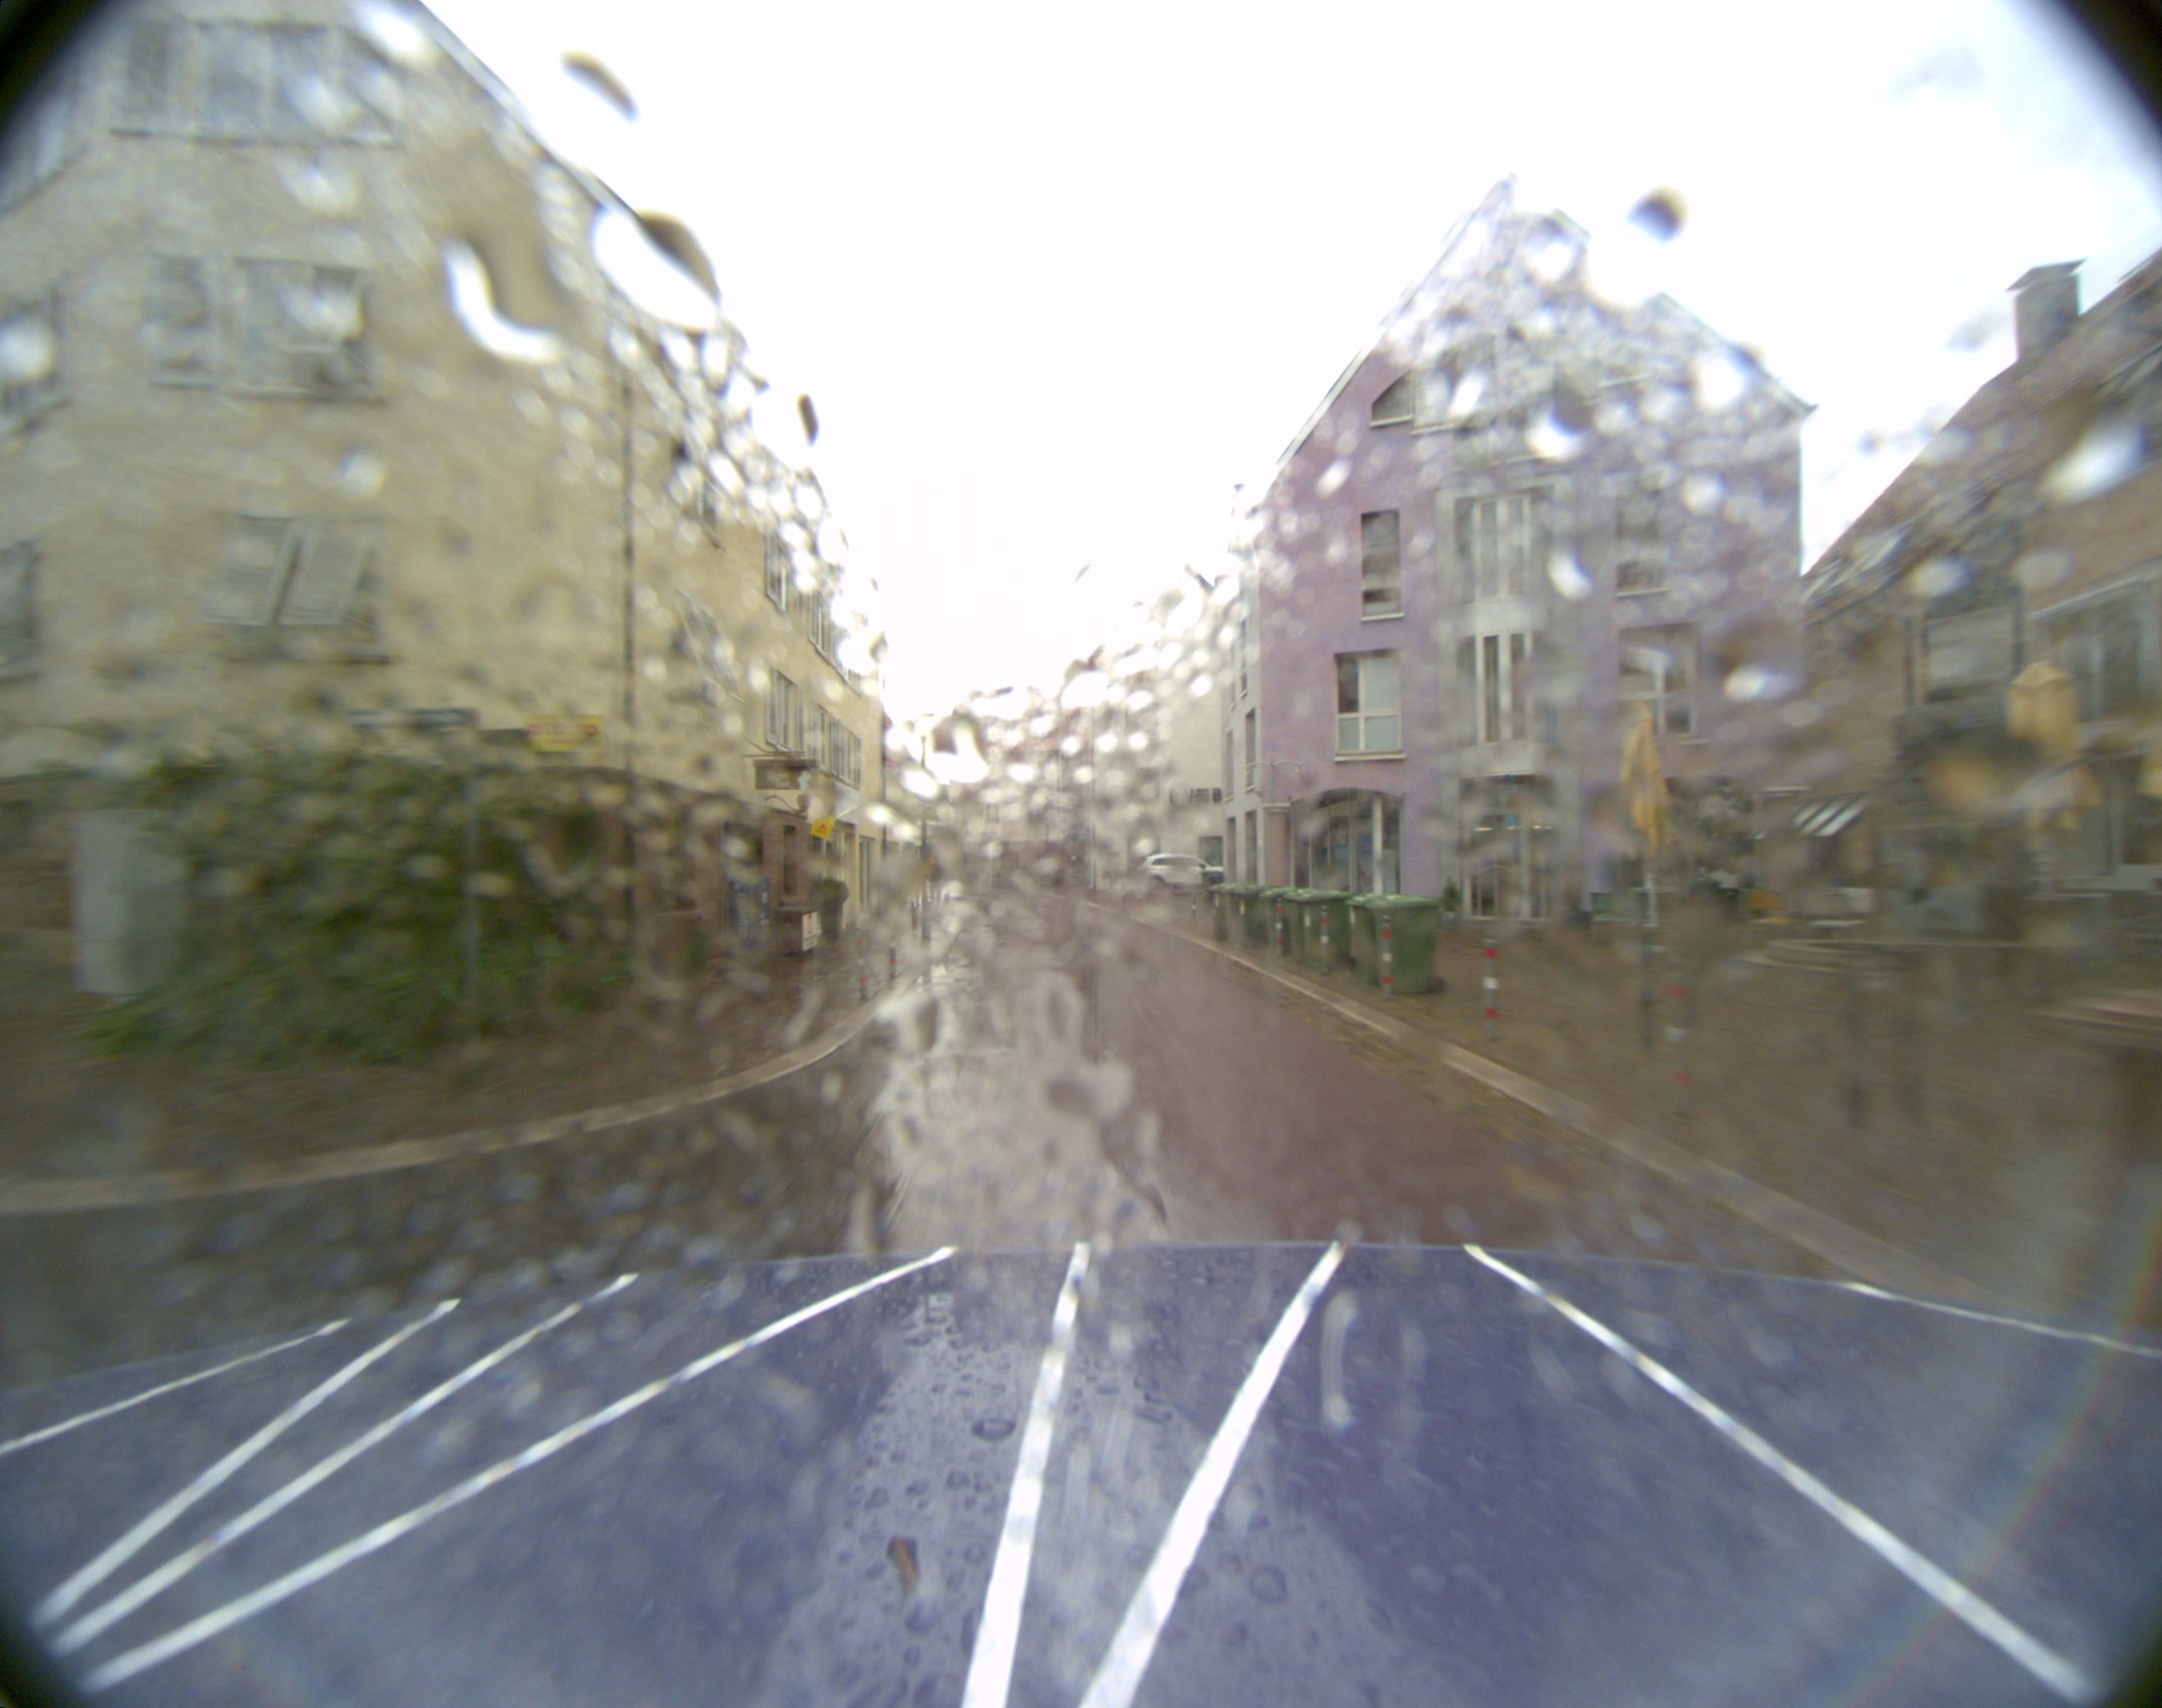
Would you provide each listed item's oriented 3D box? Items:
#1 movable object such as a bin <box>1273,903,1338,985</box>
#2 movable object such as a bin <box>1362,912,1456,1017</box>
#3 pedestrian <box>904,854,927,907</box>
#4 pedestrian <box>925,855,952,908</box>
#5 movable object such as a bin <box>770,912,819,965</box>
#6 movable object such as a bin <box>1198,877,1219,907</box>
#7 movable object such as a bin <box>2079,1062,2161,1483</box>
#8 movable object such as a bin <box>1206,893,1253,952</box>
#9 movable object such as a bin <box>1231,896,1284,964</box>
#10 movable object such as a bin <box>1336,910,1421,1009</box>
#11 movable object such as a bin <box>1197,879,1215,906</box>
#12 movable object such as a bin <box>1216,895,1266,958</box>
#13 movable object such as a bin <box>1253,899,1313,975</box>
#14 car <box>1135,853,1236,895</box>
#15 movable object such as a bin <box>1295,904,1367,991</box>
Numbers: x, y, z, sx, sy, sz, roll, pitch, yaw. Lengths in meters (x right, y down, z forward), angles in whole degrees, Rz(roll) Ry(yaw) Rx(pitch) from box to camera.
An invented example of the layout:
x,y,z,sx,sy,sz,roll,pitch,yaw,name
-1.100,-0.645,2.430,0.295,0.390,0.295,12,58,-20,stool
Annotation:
x,y,z,sx,sy,sz,roll,pitch,yaw,name
3.248,1.289,11.032,0.688,1.099,0.669,-1,0,-6,movable object such as a bin
3.590,1.193,8.359,0.688,1.036,0.669,-1,0,-6,movable object such as a bin
-6.023,0.969,27.695,0.656,1.892,0.657,1,1,-24,pedestrian
-5.228,0.991,27.847,0.775,1.893,0.803,0,1,-24,pedestrian
-5.008,1.475,13.325,0.547,0.831,0.909,1,0,-3,movable object such as a bin
4.447,1.310,26.479,0.489,0.983,0.572,-2,2,-22,movable object such as a bin
3.140,1.096,1.852,0.689,1.014,0.631,-1,0,-15,movable object such as a bin
2.864,1.310,14.701,0.688,1.072,0.677,-1,0,-6,movable object such as a bin
3.028,1.293,13.062,0.688,1.074,0.669,-1,0,-6,movable object such as a bin
3.537,1.232,9.067,0.688,1.070,0.669,-1,0,-6,movable object such as a bin
4.262,1.309,25.933,0.461,0.890,0.449,-1,2,-9,movable object such as a bin
2.936,1.317,13.958,0.688,1.080,0.712,-1,0,-6,movable object such as a bin
3.150,1.279,11.898,0.688,1.099,0.669,-1,0,-6,movable object such as a bin
4.333,0.817,31.499,3.993,1.575,1.834,-1,2,10,car
3.360,1.242,10.261,0.688,1.067,0.669,-1,0,-6,movable object such as a bin
